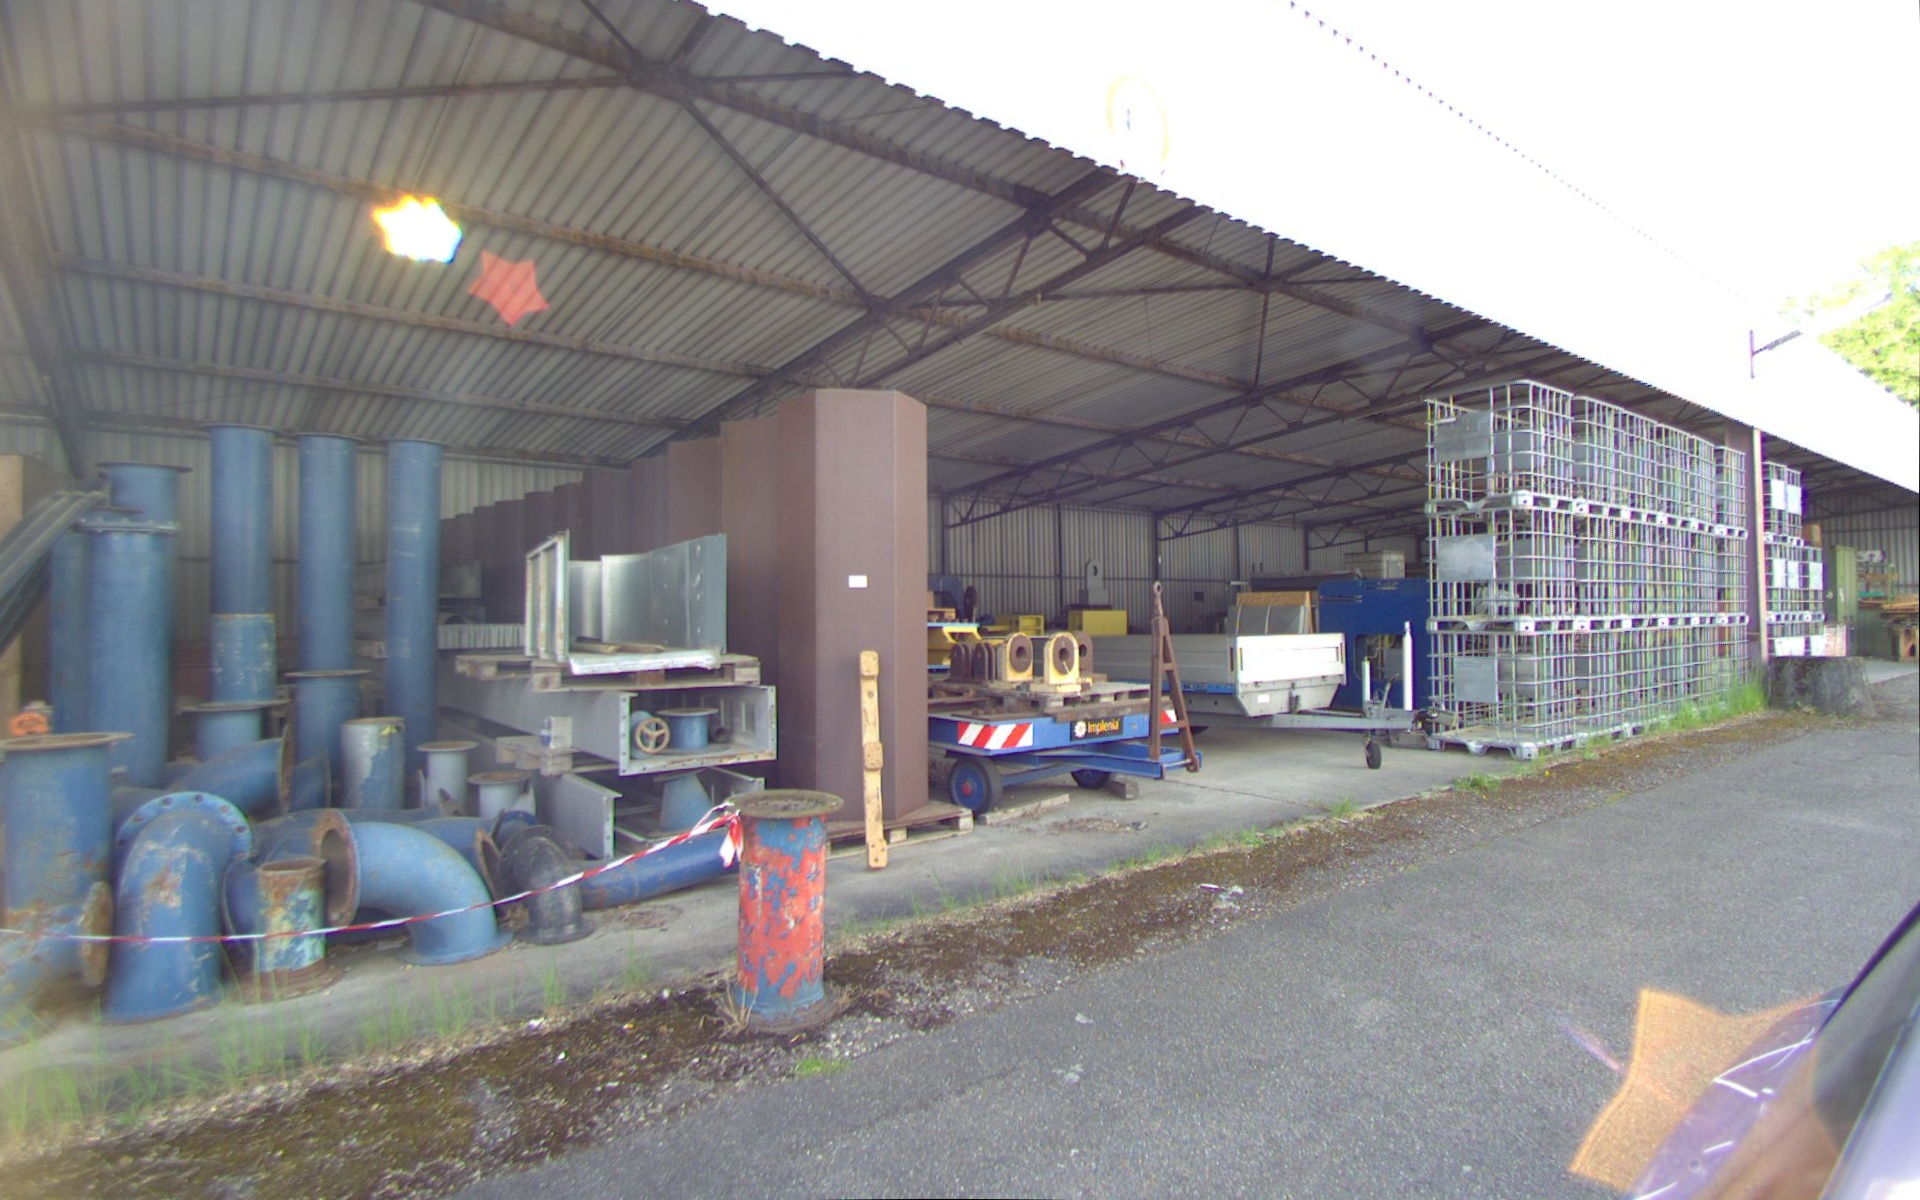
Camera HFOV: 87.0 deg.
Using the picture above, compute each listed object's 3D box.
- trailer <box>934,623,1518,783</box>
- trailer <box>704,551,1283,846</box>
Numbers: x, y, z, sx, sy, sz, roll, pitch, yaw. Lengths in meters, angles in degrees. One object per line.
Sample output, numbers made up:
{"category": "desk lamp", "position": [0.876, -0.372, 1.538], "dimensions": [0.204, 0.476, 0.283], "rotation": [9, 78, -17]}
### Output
{"category": "trailer", "position": [2.287, 0.836, 10.499], "dimensions": [1.993, 1.134, 5.834], "rotation": [0, -1, -39]}
{"category": "trailer", "position": [-0.090, 0.570, 8.207], "dimensions": [1.993, 1.649, 4.877], "rotation": [0, -1, -39]}
